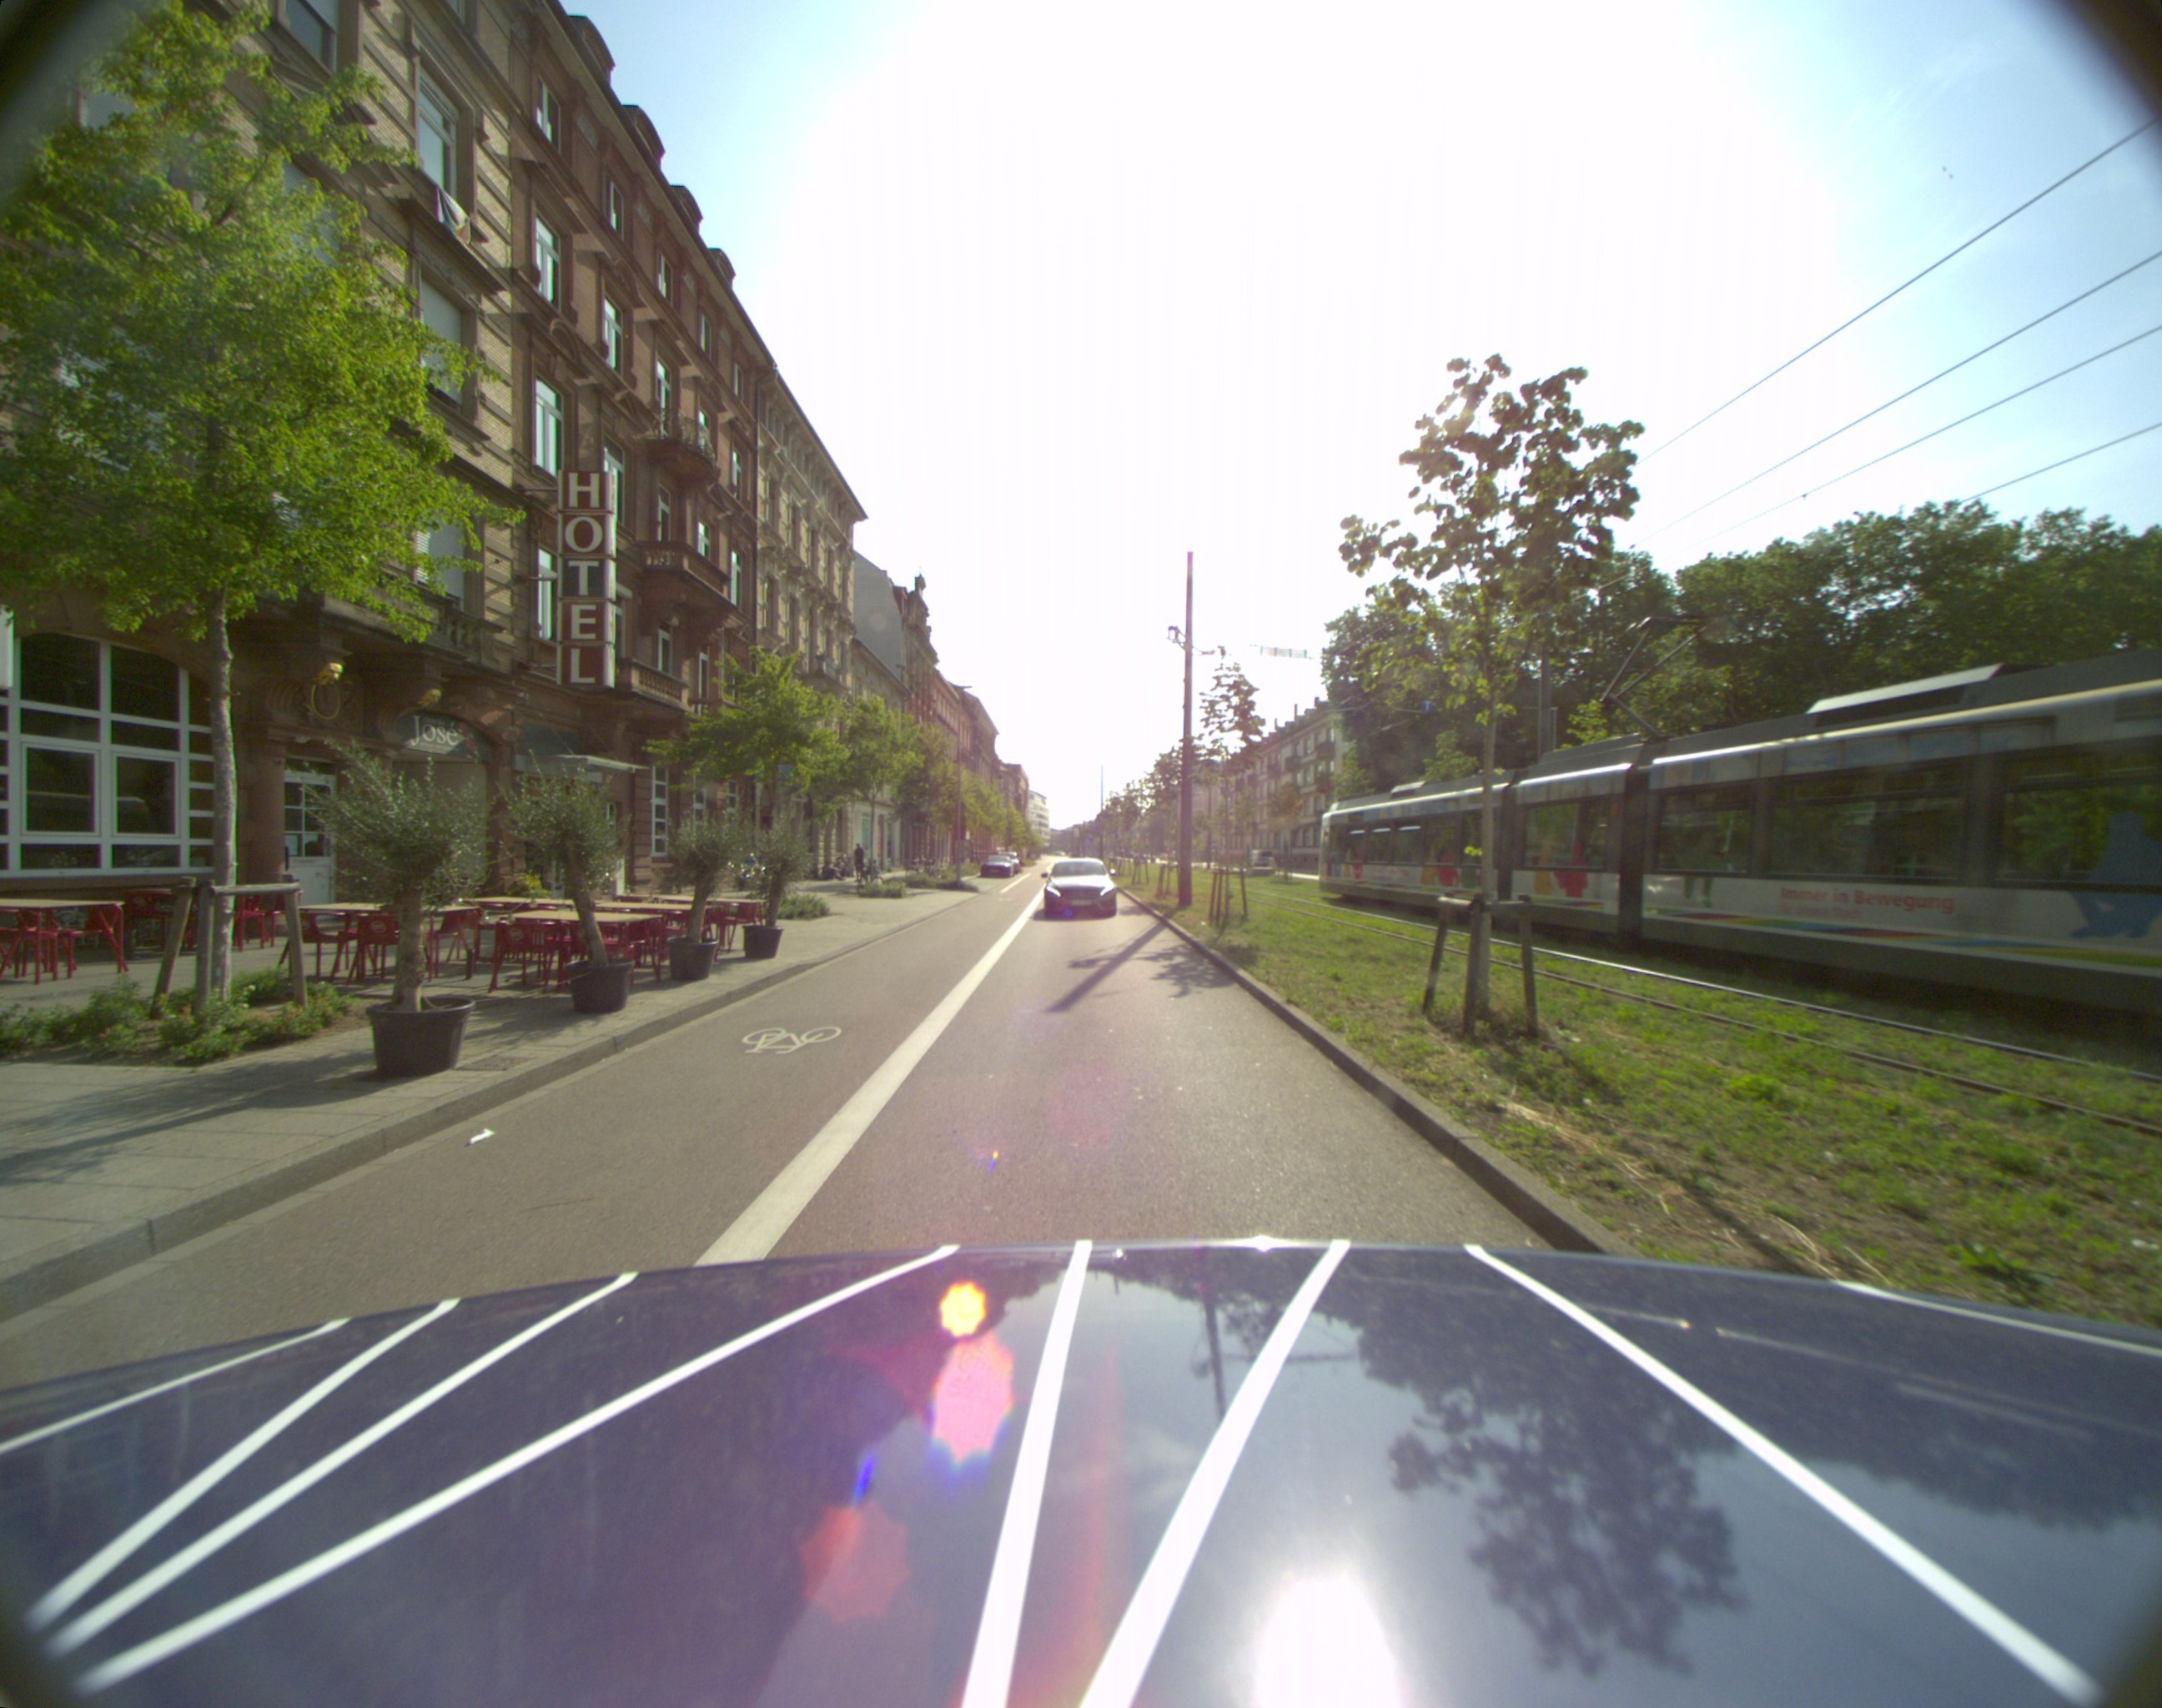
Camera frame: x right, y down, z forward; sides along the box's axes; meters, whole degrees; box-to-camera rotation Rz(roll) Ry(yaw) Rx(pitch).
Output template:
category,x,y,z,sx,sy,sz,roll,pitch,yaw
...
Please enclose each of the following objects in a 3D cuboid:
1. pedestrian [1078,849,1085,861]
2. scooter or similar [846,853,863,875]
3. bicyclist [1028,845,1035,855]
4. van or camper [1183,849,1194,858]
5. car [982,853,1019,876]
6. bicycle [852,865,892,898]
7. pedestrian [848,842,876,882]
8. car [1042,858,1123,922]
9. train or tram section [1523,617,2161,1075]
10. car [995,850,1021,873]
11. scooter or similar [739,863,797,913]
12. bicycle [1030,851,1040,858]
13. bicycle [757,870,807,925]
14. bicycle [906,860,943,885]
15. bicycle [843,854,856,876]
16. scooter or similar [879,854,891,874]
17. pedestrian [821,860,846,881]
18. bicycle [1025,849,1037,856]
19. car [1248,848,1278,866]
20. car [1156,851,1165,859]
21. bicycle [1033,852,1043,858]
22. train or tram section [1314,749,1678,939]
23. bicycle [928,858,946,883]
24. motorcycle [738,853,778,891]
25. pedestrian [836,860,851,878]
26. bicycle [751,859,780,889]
category,x,y,z,sx,sy,sz,roll,pitch,yaw
pedestrian,0.095,0.172,117.729,0.993,1.795,0.864,1,-1,-3
scooter or similar,-11.666,0.529,39.115,0.608,1.118,0.931,0,1,-1
bicyclist,-7.486,-0.622,114.604,0.929,1.473,0.587,3,1,28
van or camper,22.847,-0.140,161.372,1.934,1.957,4.001,0,1,3
car,-5.105,0.635,48.700,1.741,1.388,4.714,2,0,1
bicycle,-7.065,0.925,25.797,0.505,1.054,1.715,2,0,14
pedestrian,-9.596,0.354,33.283,0.823,1.687,0.795,3,1,29
car,-0.015,0.867,20.140,1.907,1.385,4.235,-1,1,-1
train or tram section,9.869,-0.084,7.844,2.906,3.566,12.930,1,1,0
car,-5.318,0.523,55.783,1.774,1.579,4.245,1,0,-4
scooter or similar,-7.677,0.830,18.654,1.259,1.151,0.340,3,1,3
bicycle,-8.526,0.126,140.344,1.763,1.081,0.671,3,1,-24
bicycle,-6.778,0.956,17.310,0.597,1.116,1.925,0,1,-7
bicycle,-7.507,0.869,36.502,0.453,1.076,1.881,3,4,41
bicycle,-11.523,0.544,37.777,0.452,1.077,1.447,0,1,-10
scooter or similar,-11.193,0.554,43.386,0.289,1.127,1.089,0,1,5
pedestrian,-11.041,0.734,33.854,0.880,0.871,0.711,2,1,-4
bicycle,-7.536,-0.180,114.625,1.780,0.947,0.508,2,0,28
car,20.063,0.298,84.085,1.999,1.907,5.152,-2,0,0
car,20.312,0.302,193.700,1.998,1.884,5.047,0,0,2
bicycle,-8.078,0.180,143.317,1.761,1.081,0.610,3,1,-10
train or tram section,9.773,-0.284,20.640,2.906,3.566,12.474,1,1,0
bicycle,-6.747,0.766,35.618,0.494,1.087,1.826,0,1,-1
motorcycle,-10.608,0.568,24.982,0.464,1.169,1.945,2,1,0
pedestrian,-11.117,0.701,35.554,0.572,0.850,0.457,2,1,-6
bicycle,-11.074,0.700,26.676,0.397,1.012,1.255,0,1,5
